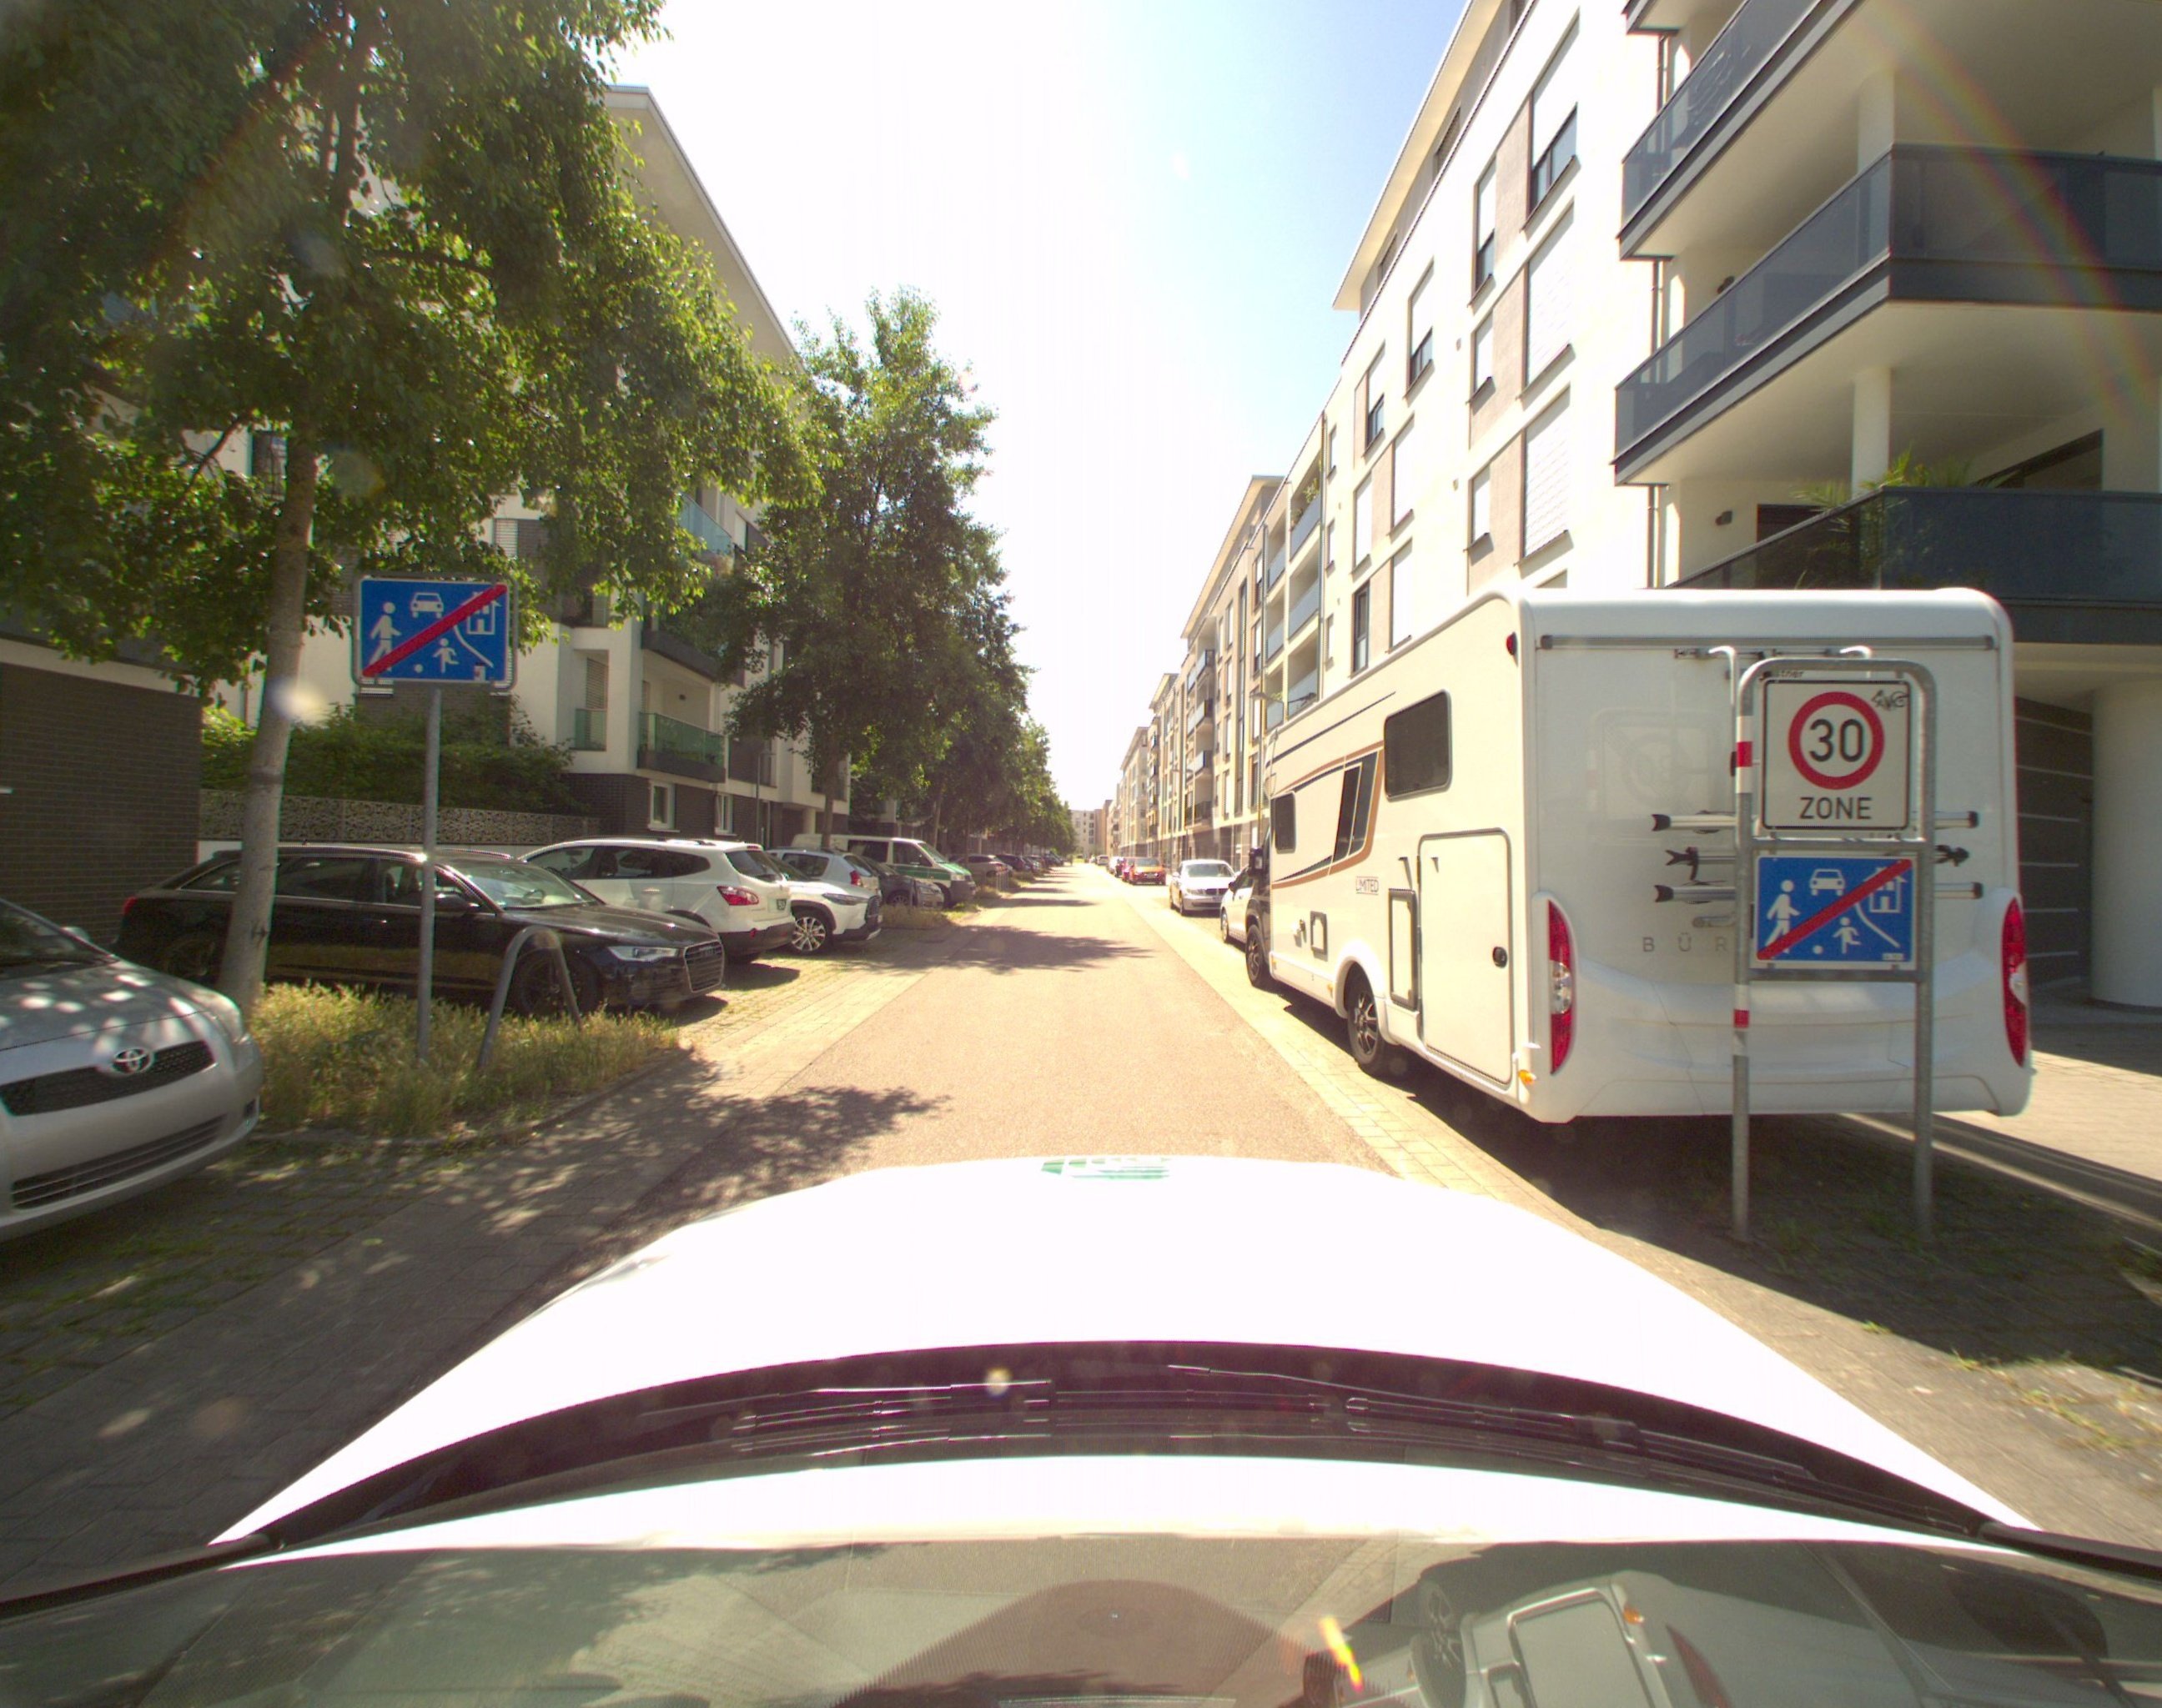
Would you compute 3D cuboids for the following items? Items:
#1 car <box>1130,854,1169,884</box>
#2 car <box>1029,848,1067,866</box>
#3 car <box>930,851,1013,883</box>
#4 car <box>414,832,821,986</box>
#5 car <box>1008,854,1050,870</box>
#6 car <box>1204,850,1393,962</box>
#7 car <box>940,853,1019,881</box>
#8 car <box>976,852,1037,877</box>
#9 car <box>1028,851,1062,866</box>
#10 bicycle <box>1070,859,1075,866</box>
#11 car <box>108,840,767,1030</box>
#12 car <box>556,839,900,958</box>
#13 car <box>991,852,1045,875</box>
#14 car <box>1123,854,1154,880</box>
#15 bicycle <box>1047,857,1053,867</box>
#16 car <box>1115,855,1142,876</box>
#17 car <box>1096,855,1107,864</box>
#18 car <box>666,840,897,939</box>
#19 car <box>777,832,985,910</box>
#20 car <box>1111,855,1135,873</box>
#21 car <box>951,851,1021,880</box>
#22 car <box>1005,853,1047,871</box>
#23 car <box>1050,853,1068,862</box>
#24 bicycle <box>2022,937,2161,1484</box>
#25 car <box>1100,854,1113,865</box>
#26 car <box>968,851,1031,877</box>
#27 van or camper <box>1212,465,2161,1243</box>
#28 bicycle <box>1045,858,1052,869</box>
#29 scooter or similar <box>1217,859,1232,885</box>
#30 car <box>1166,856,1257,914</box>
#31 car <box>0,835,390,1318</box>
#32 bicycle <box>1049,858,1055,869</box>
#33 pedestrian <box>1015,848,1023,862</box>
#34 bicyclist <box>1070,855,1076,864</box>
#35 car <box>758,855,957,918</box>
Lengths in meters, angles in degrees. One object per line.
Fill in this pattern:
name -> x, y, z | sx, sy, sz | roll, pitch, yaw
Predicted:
car -> 3.588, 0.778, 43.476 | 1.732, 1.487, 4.258 | -1, 0, 0
car -> -5.342, 0.493, 131.284 | 6.004, 2.816, 2.605 | 0, 0, 0
car -> -6.005, 0.695, 45.047 | 4.239, 1.517, 1.924 | 3, 0, -1
car -> -5.654, 0.628, 10.343 | 3.965, 1.629, 1.950 | 2, 0, 2
car -> -5.277, 0.801, 82.628 | 4.172, 1.486, 1.956 | 1, -1, -4
car -> 3.312, 0.714, 13.292 | 1.802, 1.505, 4.257 | -1, 0, -2
car -> -5.869, 0.724, 47.494 | 4.303, 1.476, 1.792 | 2, 0, -1
car -> -5.226, 0.718, 57.494 | 3.972, 1.651, 1.919 | 2, 0, 1
car -> -5.494, 0.686, 125.851 | 5.129, 2.119, 2.311 | 1, 0, 0
bicycle -> -1.356, 1.308, 131.544 | 0.896, 1.129, 2.039 | 0, 0, -1
car -> -5.859, 0.697, 7.895 | 4.834, 1.456, 1.829 | 2, 0, 0
car -> -5.366, 0.674, 12.977 | 4.551, 1.594, 1.963 | 2, 0, -5
car -> -5.176, 0.780, 67.154 | 4.350, 1.710, 1.998 | -2, 0, -3
car -> 3.403, 0.764, 49.009 | 1.590, 1.485, 3.675 | -1, 0, 0
bicycle -> -4.092, 1.054, 108.553 | 0.569, 1.174, 1.764 | 3, 1, -7
car -> 3.401, 0.796, 58.777 | 1.637, 1.462, 4.116 | -1, 0, 0
car -> 3.625, 0.935, 146.029 | 1.750, 1.552, 4.004 | 1, 0, 3
car -> -5.603, 0.641, 15.613 | 3.669, 1.676, 1.851 | 2, 0, -1
car -> -5.557, 0.463, 23.153 | 5.322, 2.110, 2.188 | 0, 0, 1
car -> 3.560, 0.819, 70.166 | 1.828, 1.505, 4.350 | -1, 0, 0
car -> -5.802, 0.688, 50.055 | 3.973, 1.592, 1.884 | 2, 0, 0
car -> -5.385, 0.764, 79.731 | 3.925, 1.553, 1.872 | 2, 0, -1
car -> -5.096, 0.842, 190.117 | 3.966, 2.014, 2.004 | 0, 0, 6
bicycle -> 3.483, 0.841, 1.999 | 1.920, 1.222, 0.822 | -1, 1, -16
car -> 3.888, 0.787, 125.924 | 1.990, 1.657, 4.115 | 0, 0, 1
car -> -5.484, 0.648, 54.967 | 3.974, 1.629, 1.933 | 2, 0, 0
van or camper -> 3.050, 0.050, 7.006 | 2.431, 2.906, 7.822 | 1, -1, -1
bicycle -> -3.605, 1.044, 90.046 | 0.434, 1.128, 1.971 | 0, 0, -12
scooter or similar -> 6.844, 0.845, 38.703 | 0.541, 1.225, 1.535 | 1, 0, 15
car -> 3.449, 0.778, 22.306 | 1.839, 1.416, 4.426 | 1, 0, 1
car -> -5.638, 0.666, 3.118 | 4.242, 1.530, 1.820 | 2, 0, -4
bicycle -> -3.244, 1.016, 90.077 | 0.371, 1.180, 1.813 | 0, 0, -12
pedestrian -> -8.837, 0.157, 115.573 | 1.005, 2.014, 1.130 | 0, 0, 3
bicyclist -> -1.344, 0.853, 131.414 | 0.951, 1.459, 0.799 | 0, 0, -1
car -> -5.429, 0.770, 20.311 | 4.409, 1.490, 1.998 | 0, 0, -2
